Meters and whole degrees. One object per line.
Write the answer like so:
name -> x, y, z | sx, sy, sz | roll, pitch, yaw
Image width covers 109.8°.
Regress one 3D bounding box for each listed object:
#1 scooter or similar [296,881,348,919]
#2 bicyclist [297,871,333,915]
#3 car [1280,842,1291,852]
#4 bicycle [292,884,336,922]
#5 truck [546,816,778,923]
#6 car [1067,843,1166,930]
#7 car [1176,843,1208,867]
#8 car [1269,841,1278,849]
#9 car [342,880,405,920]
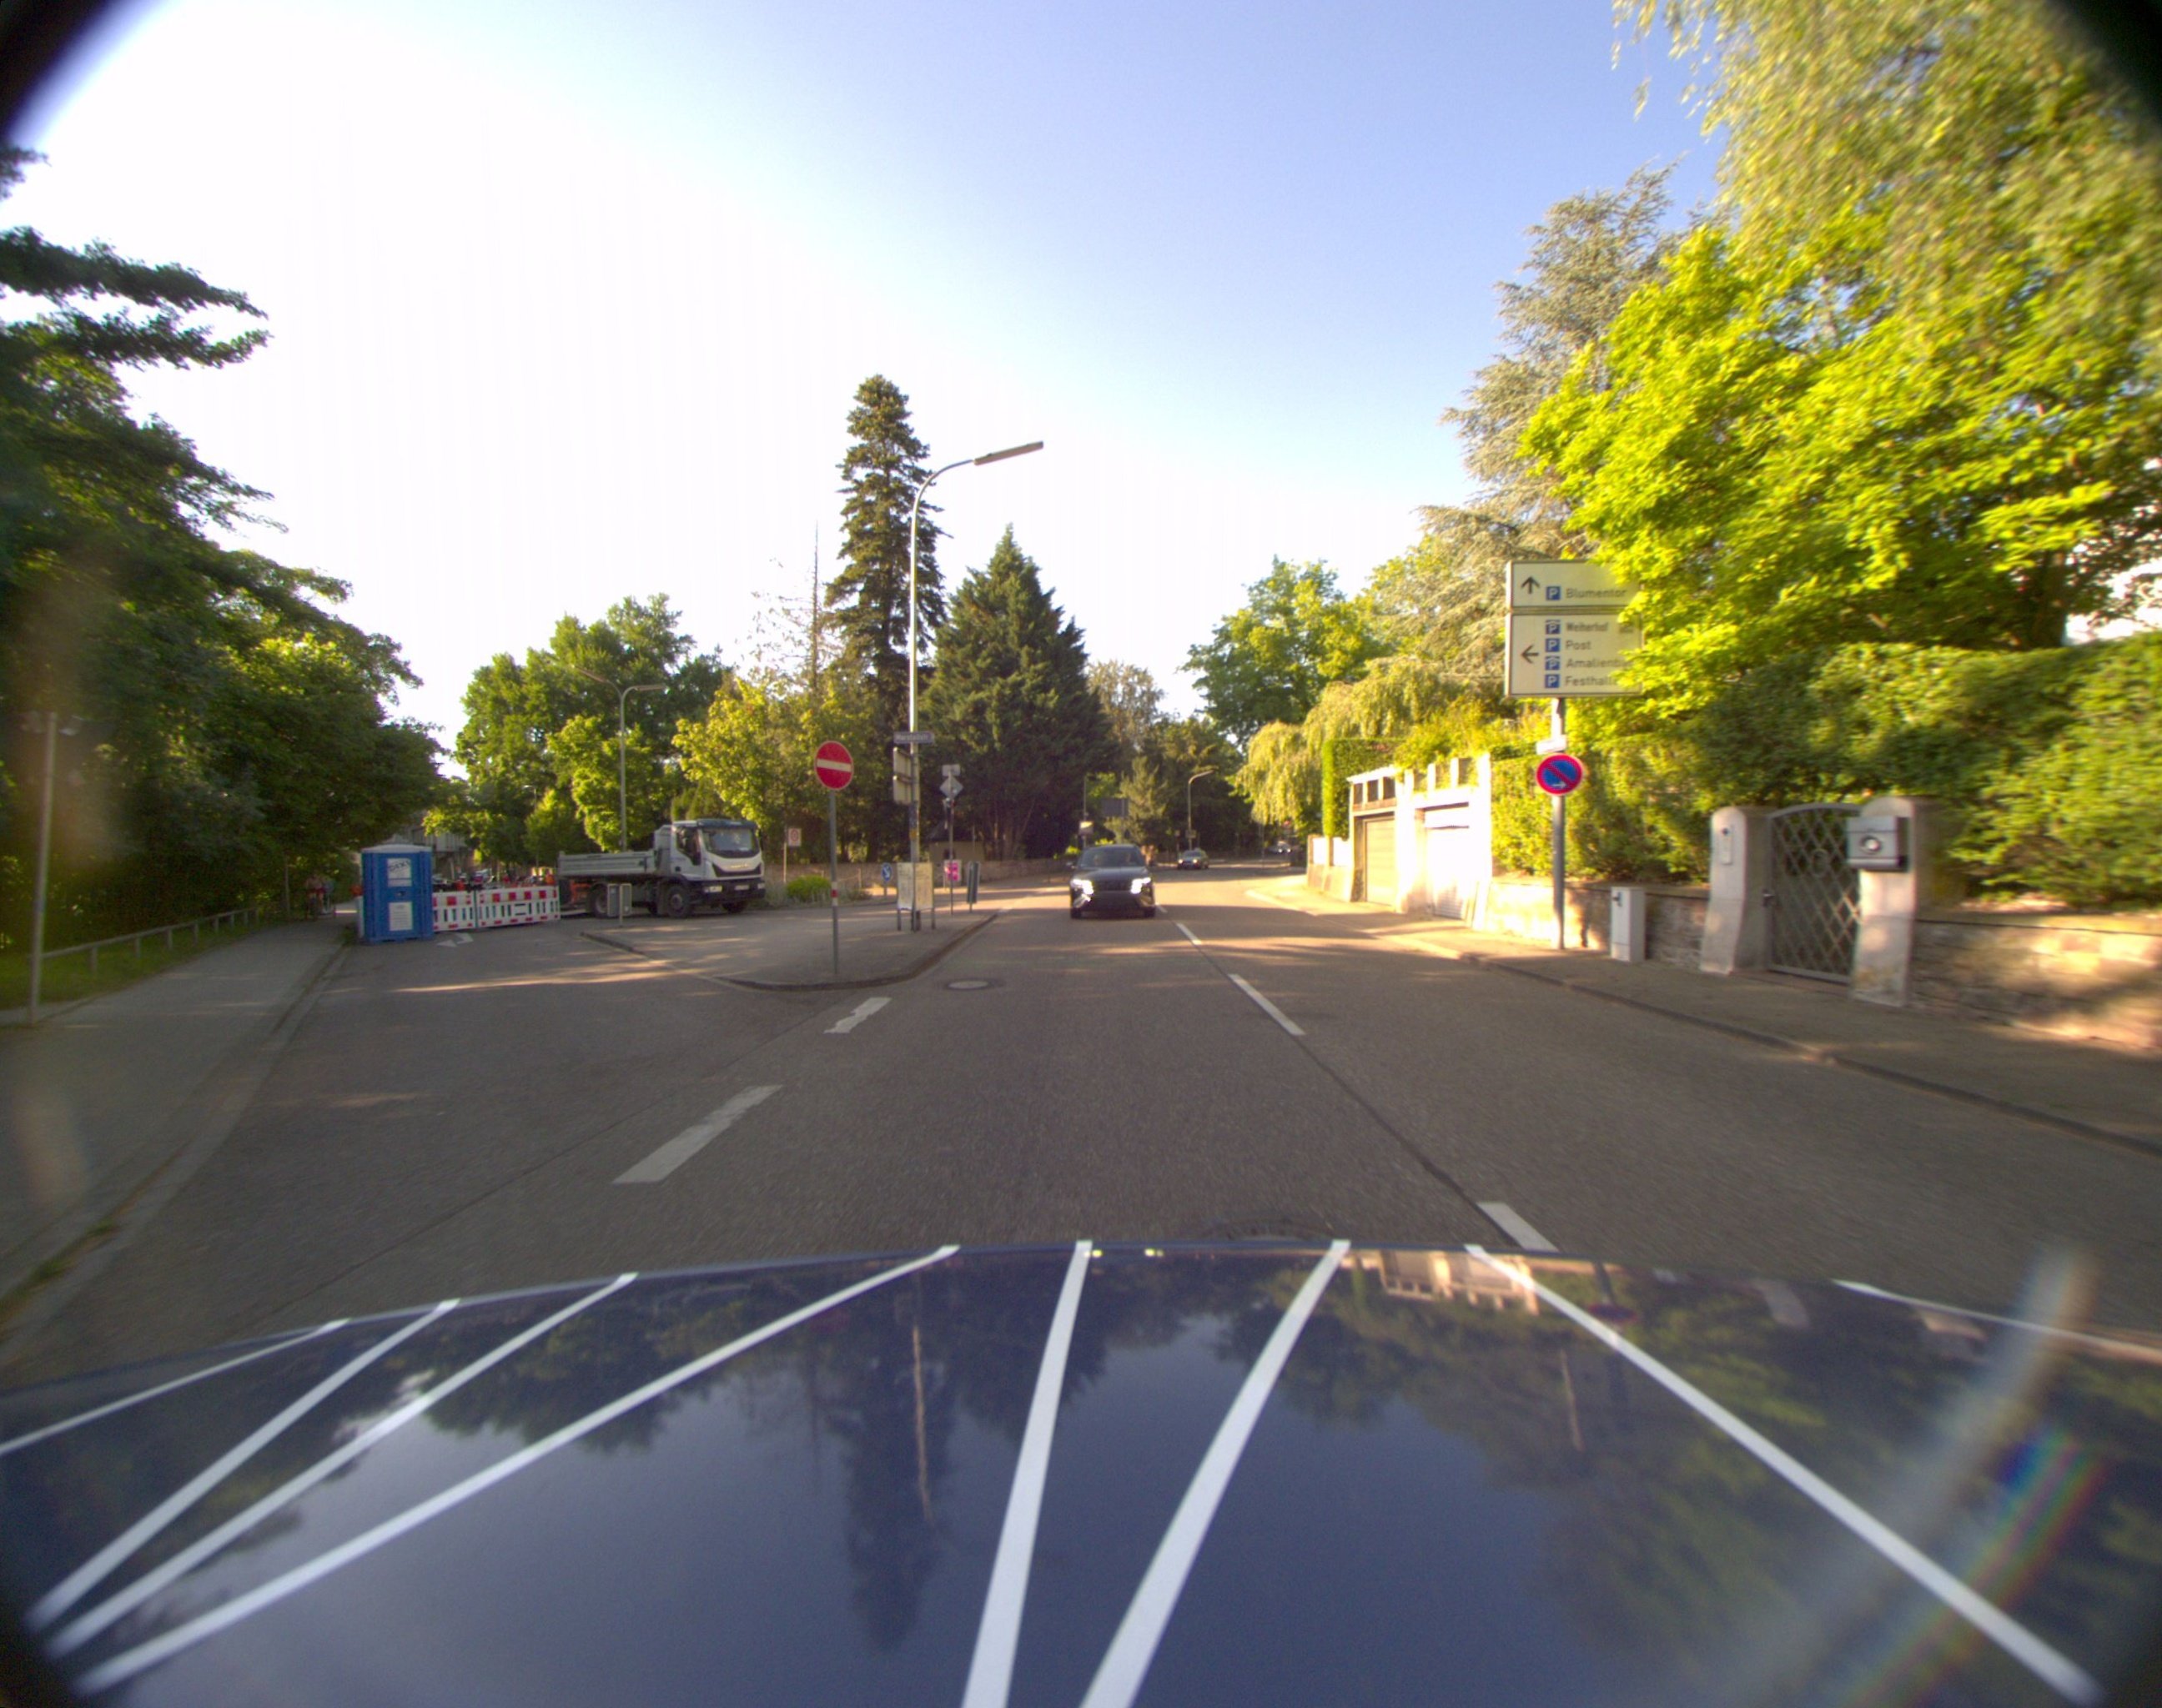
scooter or similar -> -27.705, 1.666, 27.756 | 1.157, 1.316, 1.179 | 5, -4, -40
bicyclist -> -26.327, 1.333, 26.125 | 0.762, 1.476, 0.642 | 3, -2, -41
car -> 41.442, -1.453, 154.177 | 1.996, 2.002, 4.004 | -2, 1, 16
bicycle -> -26.428, 1.662, 26.215 | 0.765, 1.199, 2.834 | 3, -3, -40
truck -> -12.757, 0.515, 23.095 | 6.594, 2.878, 2.437 | -2, 1, 22
car -> 0.788, 0.624, 17.162 | 1.936, 1.676, 4.432 | -1, 1, 2
car -> 8.434, 0.055, 57.542 | 1.996, 1.630, 4.003 | -3, 0, 14
car -> 38.802, -1.782, 153.147 | 1.821, 1.375, 3.939 | 2, 2, 14
car -> -39.180, 2.492, 42.066 | 3.989, 2.002, 2.004 | -1, 1, 40
